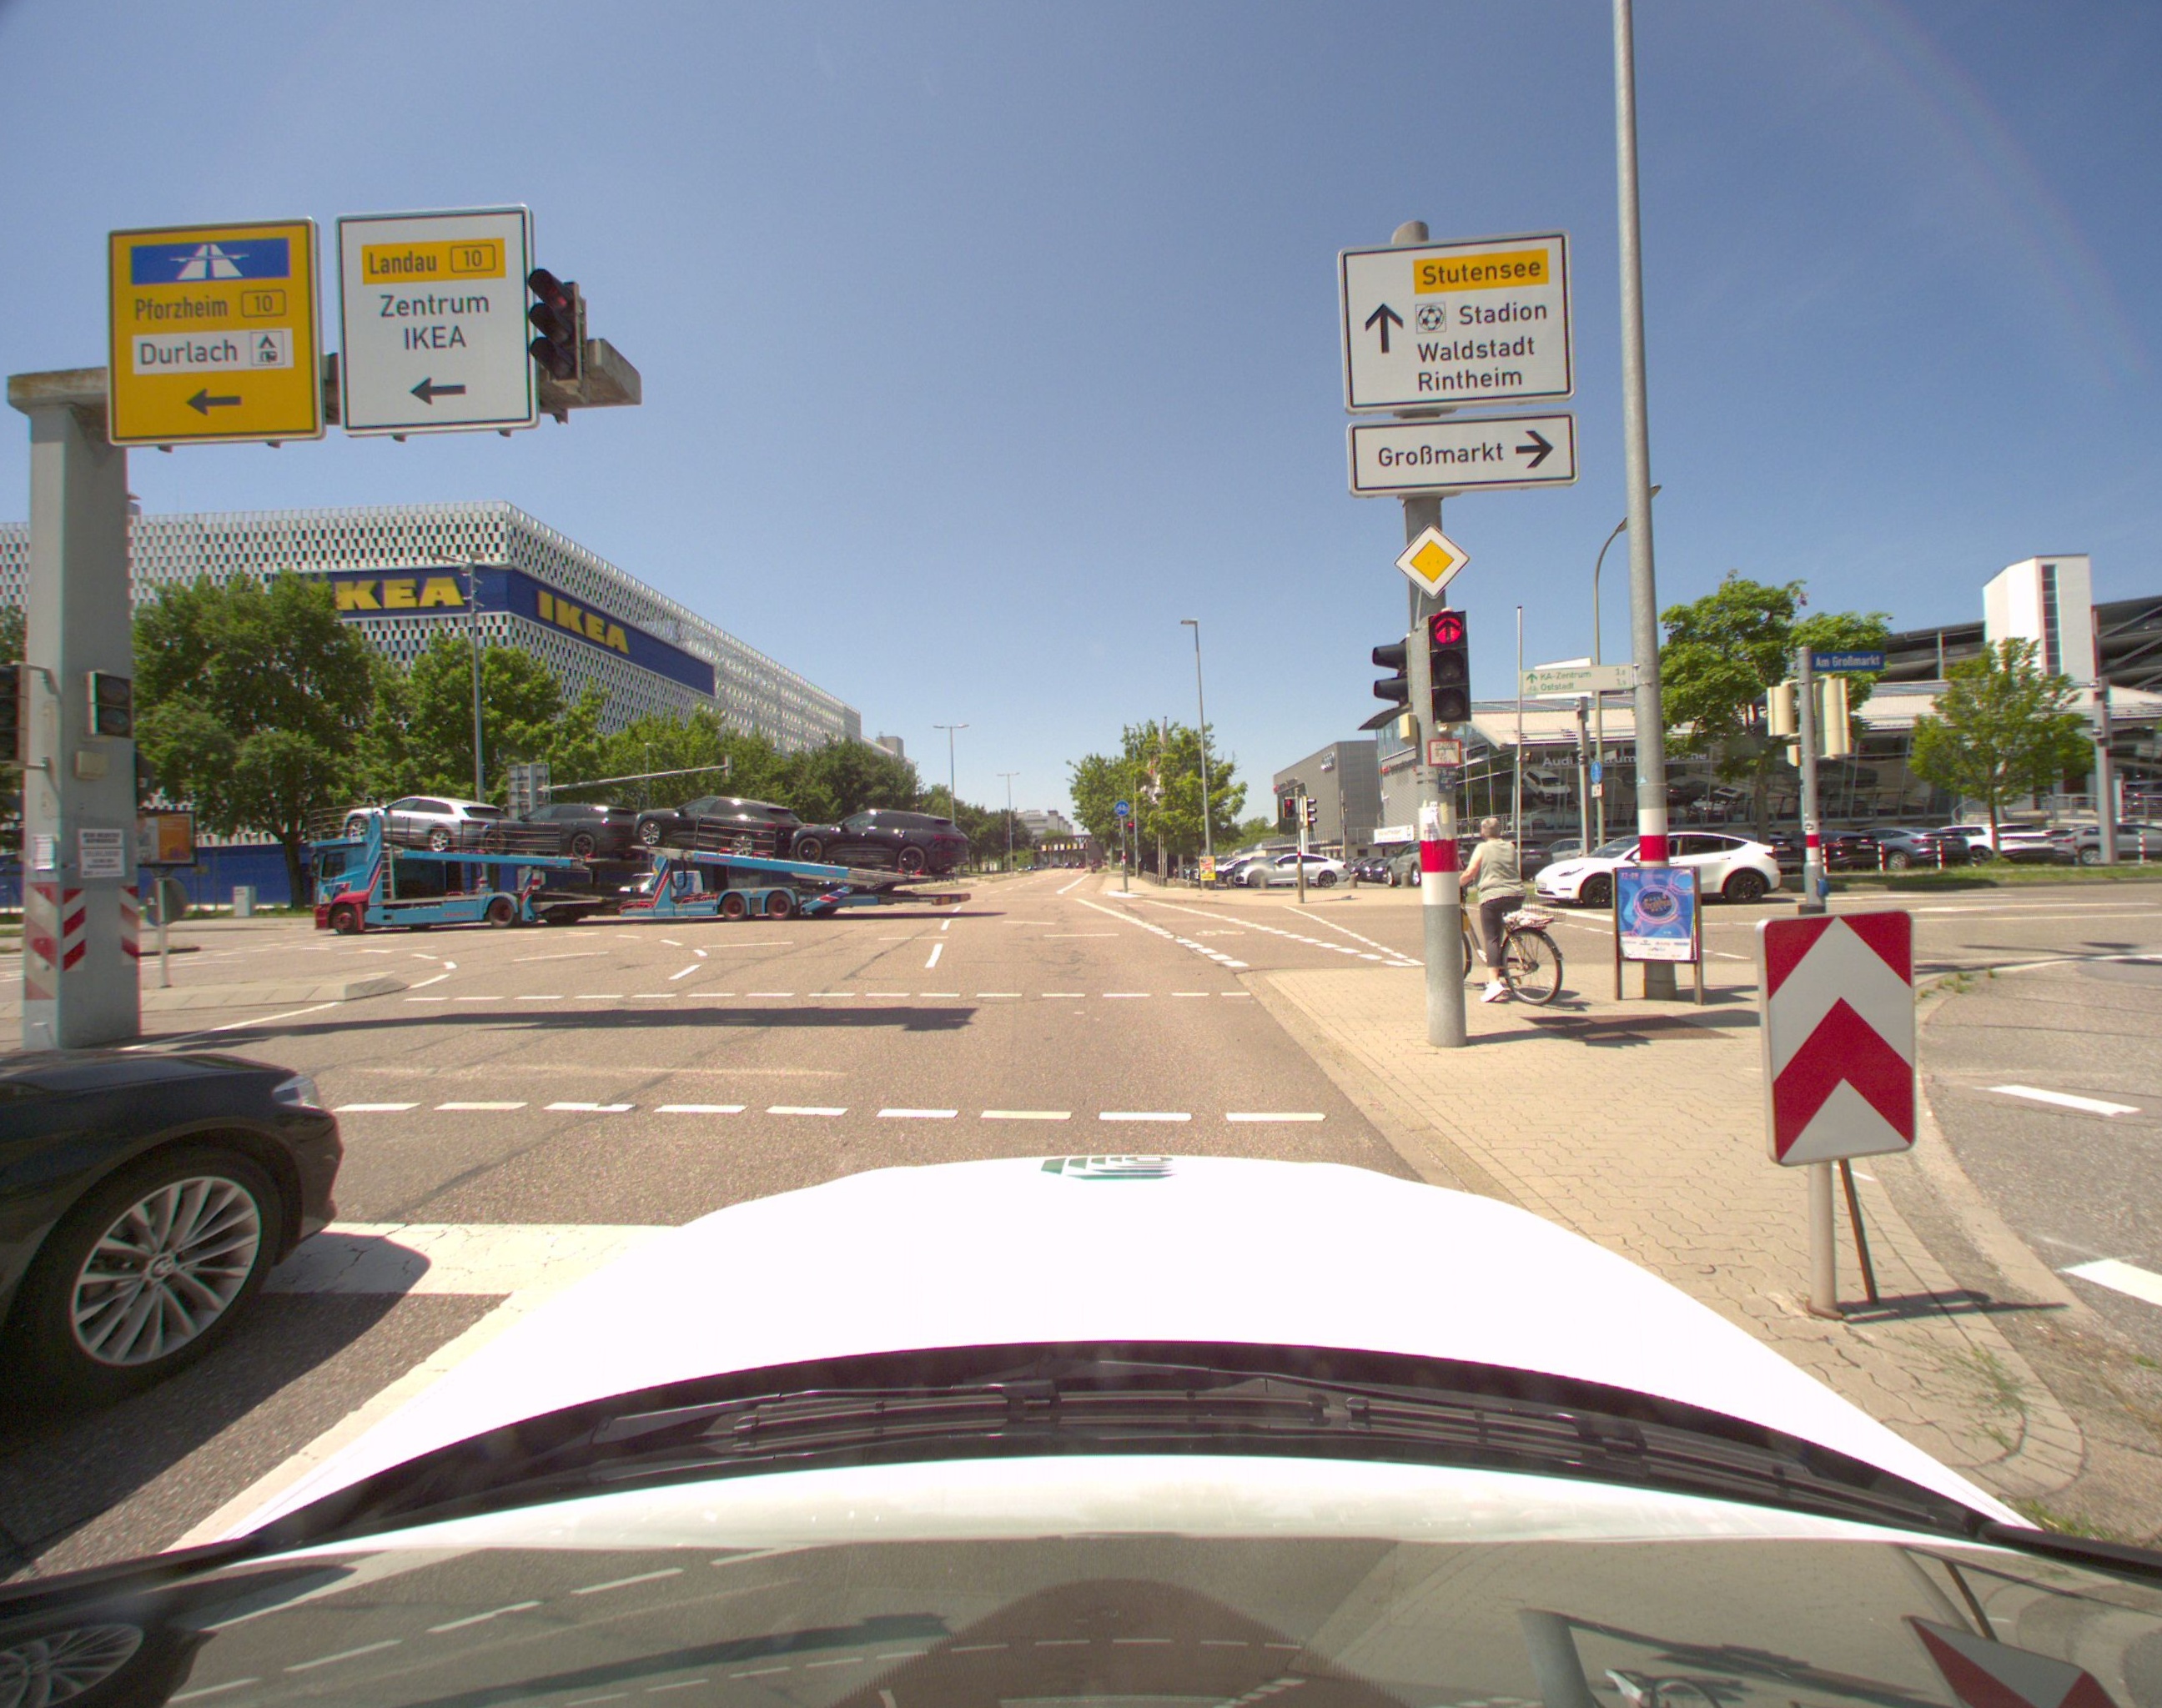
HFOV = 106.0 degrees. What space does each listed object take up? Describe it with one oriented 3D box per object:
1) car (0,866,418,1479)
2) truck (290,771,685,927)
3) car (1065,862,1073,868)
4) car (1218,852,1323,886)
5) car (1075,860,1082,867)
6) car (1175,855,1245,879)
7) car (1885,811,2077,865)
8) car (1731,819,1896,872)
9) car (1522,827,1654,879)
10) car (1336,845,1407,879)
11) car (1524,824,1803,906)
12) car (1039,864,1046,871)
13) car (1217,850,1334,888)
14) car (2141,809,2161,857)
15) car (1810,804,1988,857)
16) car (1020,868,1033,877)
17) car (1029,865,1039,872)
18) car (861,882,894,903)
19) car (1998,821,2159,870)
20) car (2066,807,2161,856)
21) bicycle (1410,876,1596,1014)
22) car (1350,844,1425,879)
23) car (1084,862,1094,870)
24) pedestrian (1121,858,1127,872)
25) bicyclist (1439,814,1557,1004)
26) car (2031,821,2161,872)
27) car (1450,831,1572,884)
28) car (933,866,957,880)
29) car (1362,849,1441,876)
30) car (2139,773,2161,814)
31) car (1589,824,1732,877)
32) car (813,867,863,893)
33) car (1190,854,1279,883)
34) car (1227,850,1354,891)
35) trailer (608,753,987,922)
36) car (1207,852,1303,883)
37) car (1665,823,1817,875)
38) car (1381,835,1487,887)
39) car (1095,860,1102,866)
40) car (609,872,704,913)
[{"bbox_3d":[-3.541,0.793,0.872,1.793,1.466,4.624,-1,0,1],"label":"car"},{"bbox_3d":[-17.683,-0.046,24.442,10.550,4.083,3.110,-2,-1,10],"label":"truck"},{"bbox_3d":[-3.336,3.050,224.364,1.765,1.728,4.001,-3,-1,2],"label":"car"},{"bbox_3d":[9.261,0.729,40.075,4.721,1.457,2.002,-2,0,3],"label":"car"},{"bbox_3d":[-0.682,2.663,220.747,1.765,1.728,4.001,-3,-1,2],"label":"car"},{"bbox_3d":[9.300,0.898,59.115,4.726,1.457,2.000,-3,0,0],"label":"car"},{"bbox_3d":[31.170,-0.522,28.452,1.821,1.639,4.476,-3,0,2],"label":"car"},{"bbox_3d":[25.645,-0.274,28.773,1.821,1.639,4.476,-3,0,1],"label":"car"},{"bbox_3d":[17.887,-0.035,29.015,1.986,1.639,4.443,-3,0,2],"label":"car"},{"bbox_3d":[19.330,0.522,54.261,3.971,2.014,2.001,-2,-1,2],"label":"car"},{"bbox_3d":[12.753,0.245,18.146,4.654,1.588,2.004,-2,0,7],"label":"car"},{"bbox_3d":[-9.654,3.266,204.396,1.644,1.653,4.162,-2,0,-1],"label":"car"},{"bbox_3d":[8.527,0.652,36.057,4.721,1.457,2.002,-2,-1,3],"label":"car"},{"bbox_3d":[39.425,-0.815,27.094,4.705,1.639,1.844,-3,0,24],"label":"car"},{"bbox_3d":[28.532,-0.782,28.661,1.821,1.639,4.476,-3,0,2],"label":"car"},{"bbox_3d":[-9.785,3.267,146.393,1.725,1.427,3.707,-4,-1,2],"label":"car"},{"bbox_3d":[-9.783,2.955,168.358,1.678,1.411,3.666,-3,-1,2],"label":"car"},{"bbox_3d":[-20.393,3.882,81.760,1.984,2.014,4.005,-2,-2,5],"label":"car"},{"bbox_3d":[40.372,-0.329,33.106,3.720,1.772,1.781,-3,-1,32],"label":"car"},{"bbox_3d":[46.473,-1.017,35.747,3.728,2.014,1.866,-2,-1,11],"label":"car"},{"bbox_3d":[4.057,0.815,8.043,0.784,1.127,1.919,-1,0,-2],"label":"bicycle"},{"bbox_3d":[19.308,0.470,51.444,3.971,2.014,2.001,-2,-1,2],"label":"car"},{"bbox_3d":[1.062,1.547,105.544,1.133,1.042,2.309,-2,0,2],"label":"car"},{"bbox_3d":[4.729,1.189,89.768,0.665,1.510,0.736,-2,-1,1],"label":"pedestrian"},{"bbox_3d":[4.027,0.506,7.920,0.732,1.749,0.753,-1,0,-3],"label":"bicyclist"},{"bbox_3d":[39.075,-0.281,30.806,3.665,1.777,1.759,-3,-1,28],"label":"car"},{"bbox_3d":[15.090,0.116,28.886,1.986,1.639,4.559,-2,0,2],"label":"car"},{"bbox_3d":[-17.266,2.415,103.674,1.918,1.665,4.094,-3,-1,4],"label":"car"},{"bbox_3d":[19.284,0.487,49.100,4.076,1.460,1.720,-2,0,2],"label":"car"},{"bbox_3d":[54.897,-3.099,39.456,1.989,2.013,3.995,-2,0,-4],"label":"car"},{"bbox_3d":[20.336,-0.124,28.849,1.878,1.639,4.526,-3,0,2],"label":"car"},{"bbox_3d":[-16.366,1.695,55.057,1.868,1.598,4.498,-3,-1,2],"label":"car"},{"bbox_3d":[8.750,0.808,46.684,4.726,1.457,2.000,-2,0,0],"label":"car"},{"bbox_3d":[8.474,0.663,33.294,4.721,1.457,2.002,-2,0,3],"label":"car"},{"bbox_3d":[-7.733,-0.337,22.646,9.551,4.081,3.104,-2,-1,10],"label":"trailer"},{"bbox_3d":[9.316,0.732,43.904,4.726,1.457,2.000,-2,0,0],"label":"car"},{"bbox_3d":[23.159,-0.175,28.829,1.821,1.639,4.476,-3,0,2],"label":"car"},{"bbox_3d":[12.449,0.233,29.061,1.986,1.639,4.270,-2,0,2],"label":"car"},{"bbox_3d":[4.825,2.434,221.119,1.765,1.728,4.001,-3,-1,2],"label":"car"},{"bbox_3d":[-23.464,2.084,45.285,1.980,2.008,4.780,-3,-1,13],"label":"car"}]
